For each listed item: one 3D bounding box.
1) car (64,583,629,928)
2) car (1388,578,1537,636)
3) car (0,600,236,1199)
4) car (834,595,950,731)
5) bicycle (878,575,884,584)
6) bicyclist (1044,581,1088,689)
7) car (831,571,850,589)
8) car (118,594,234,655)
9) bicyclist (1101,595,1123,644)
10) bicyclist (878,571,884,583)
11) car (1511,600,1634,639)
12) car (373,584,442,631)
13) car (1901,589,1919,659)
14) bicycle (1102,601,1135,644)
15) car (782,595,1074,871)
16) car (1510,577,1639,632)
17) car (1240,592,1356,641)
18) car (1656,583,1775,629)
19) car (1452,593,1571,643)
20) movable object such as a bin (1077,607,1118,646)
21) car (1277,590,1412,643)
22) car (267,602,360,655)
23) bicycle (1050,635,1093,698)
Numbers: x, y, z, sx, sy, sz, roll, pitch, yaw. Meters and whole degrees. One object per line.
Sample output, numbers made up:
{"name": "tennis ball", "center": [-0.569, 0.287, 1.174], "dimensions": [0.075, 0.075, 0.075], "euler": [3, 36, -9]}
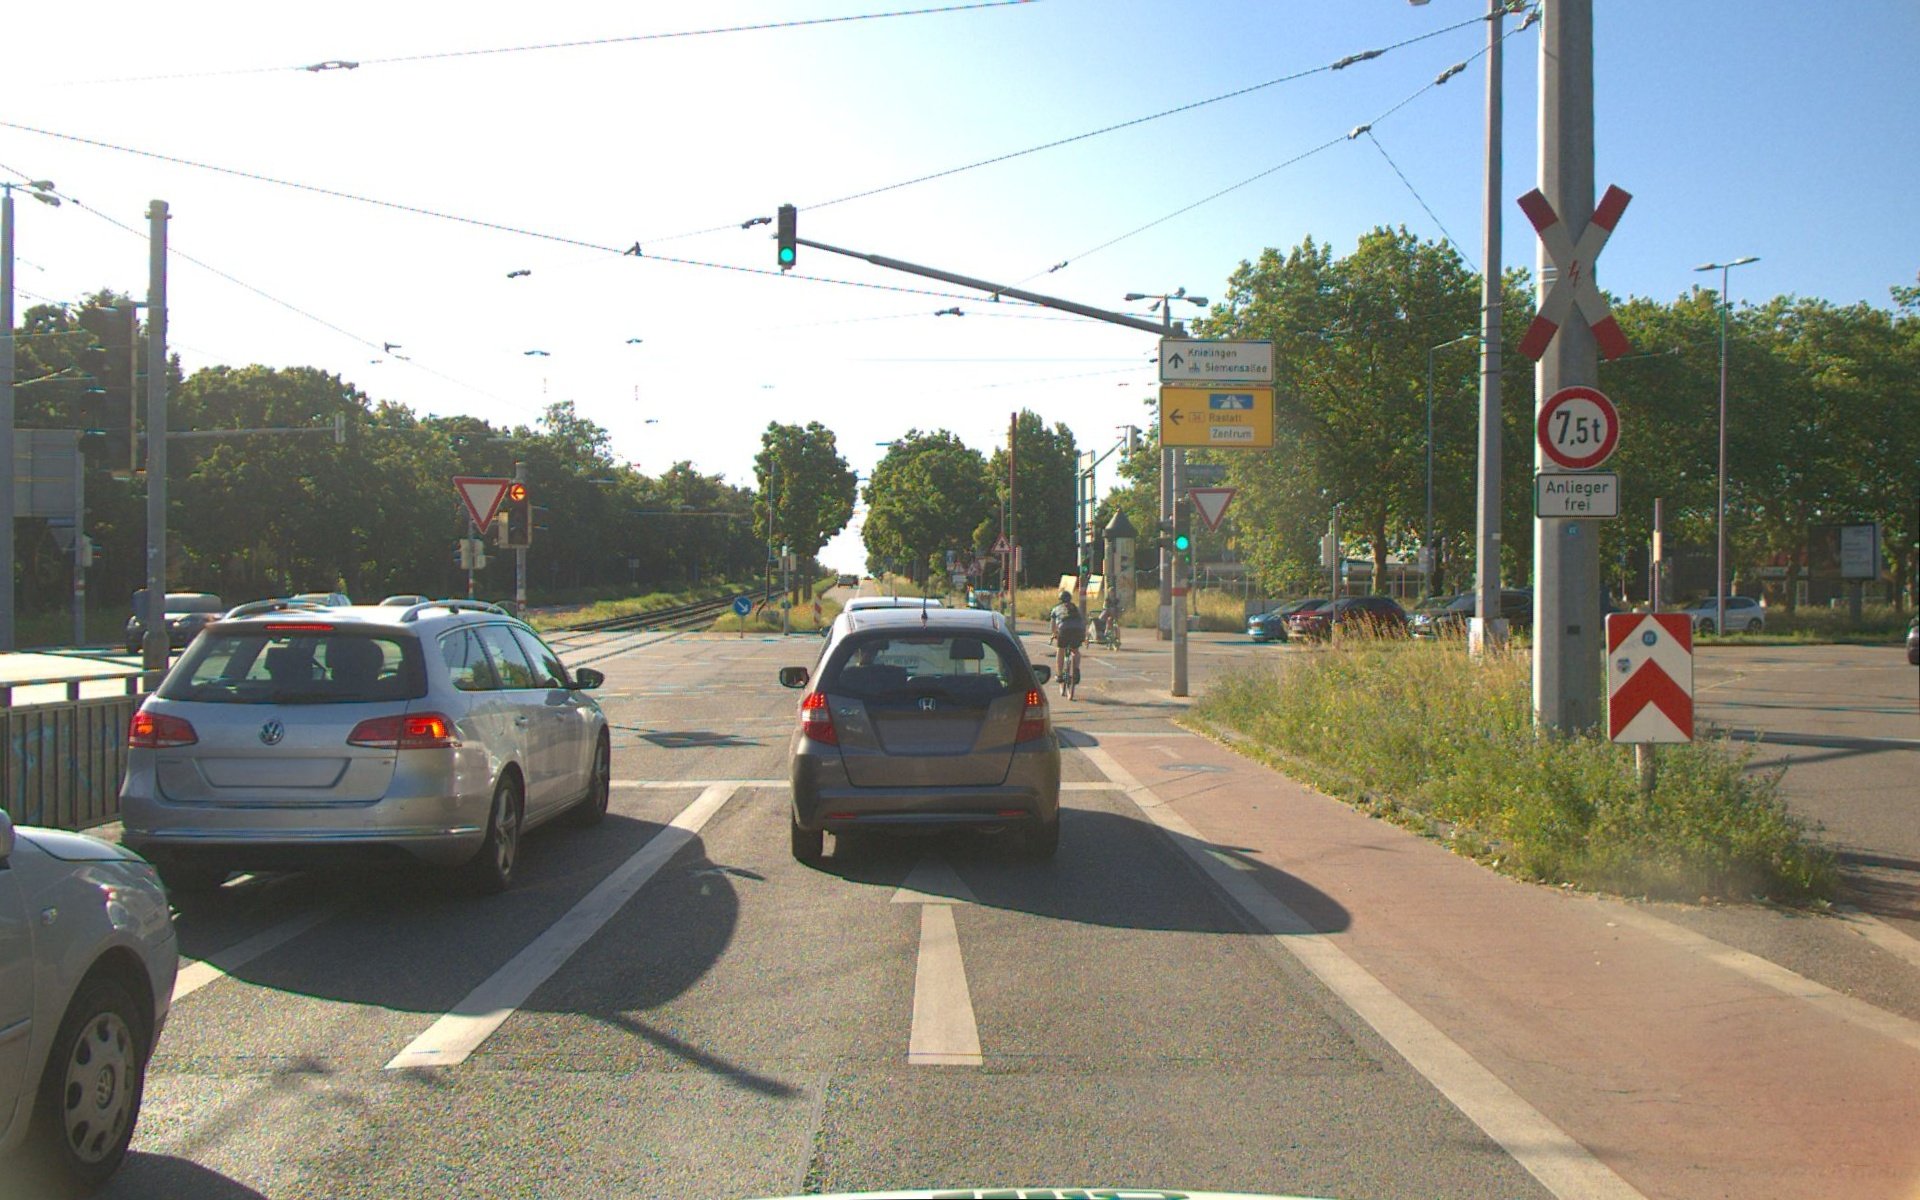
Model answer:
{"name": "car", "center": [-3.234, 0.705, 9.761], "dimensions": [1.839, 1.554, 4.419], "euler": [0, 0, -2]}
{"name": "car", "center": [15.617, 0.204, 51.354], "dimensions": [4.432, 1.741, 1.902], "euler": [0, 0, -30]}
{"name": "car", "center": [-2.832, 0.748, 3.107], "dimensions": [1.549, 1.494, 3.413], "euler": [0, 0, -2]}
{"name": "car", "center": [-0.846, 0.723, 20.645], "dimensions": [1.324, 1.554, 3.122], "euler": [0, 0, -2]}
{"name": "bicycle", "center": [-10.374, -2.680, 217.509], "dimensions": [0.801, 1.066, 2.505], "euler": [1, -1, -2]}
{"name": "bicyclist", "center": [1.708, 0.552, 26.688], "dimensions": [0.603, 1.709, 0.933], "euler": [0, 0, -2]}
{"name": "car", "center": [-13.527, -2.235, 187.426], "dimensions": [1.953, 2.049, 3.998], "euler": [0, 0, -2]}
{"name": "car", "center": [-19.907, 0.587, 42.142], "dimensions": [1.651, 1.484, 3.697], "euler": [0, 0, -8]}
{"name": "bicyclist", "center": [4.229, 0.537, 46.053], "dimensions": [0.500, 1.364, 0.564], "euler": [0, 0, -10]}
{"name": "bicyclist", "center": [-10.360, -3.058, 217.533], "dimensions": [0.801, 1.551, 0.965], "euler": [1, -1, -2]}
{"name": "car", "center": [23.309, 0.710, 62.905], "dimensions": [4.505, 1.432, 1.916], "euler": [0, 0, -29]}
{"name": "car", "center": [-20.971, 0.278, 62.935], "dimensions": [1.757, 1.717, 3.994], "euler": [0, 0, -8]}
{"name": "car", "center": [25.572, 0.615, 42.211], "dimensions": [1.796, 1.734, 3.746], "euler": [1, 0, 44]}
{"name": "bicycle", "center": [4.327, 0.609, 45.297], "dimensions": [0.458, 1.138, 1.816], "euler": [0, 0, -10]}
{"name": "car", "center": [-0.210, 0.749, 11.161], "dimensions": [1.637, 1.542, 3.673], "euler": [0, 0, -1]}
{"name": "car", "center": [24.378, 0.182, 65.575], "dimensions": [5.050, 2.106, 2.109], "euler": [0, 0, -31]}
{"name": "car", "center": [11.732, 0.564, 57.309], "dimensions": [3.806, 1.628, 1.696], "euler": [0, 0, -30]}
{"name": "car", "center": [30.110, 0.242, 65.892], "dimensions": [4.708, 1.711, 1.891], "euler": [1, -1, -29]}
{"name": "car", "center": [18.914, 0.599, 56.683], "dimensions": [3.800, 1.628, 1.699], "euler": [0, 0, -26]}
{"name": "movable object such as a bin", "center": [3.933, 0.740, 47.328], "dimensions": [0.892, 1.087, 1.314], "euler": [0, 0, -9]}
{"name": "car", "center": [12.362, 0.501, 53.189], "dimensions": [4.026, 1.628, 1.801], "euler": [0, 0, -26]}
{"name": "car", "center": [-21.003, 0.888, 53.874], "dimensions": [1.779, 1.624, 4.684], "euler": [0, 0, -8]}
{"name": "bicycle", "center": [1.795, 1.063, 26.888], "dimensions": [0.513, 0.939, 2.088], "euler": [0, 0, -1]}
